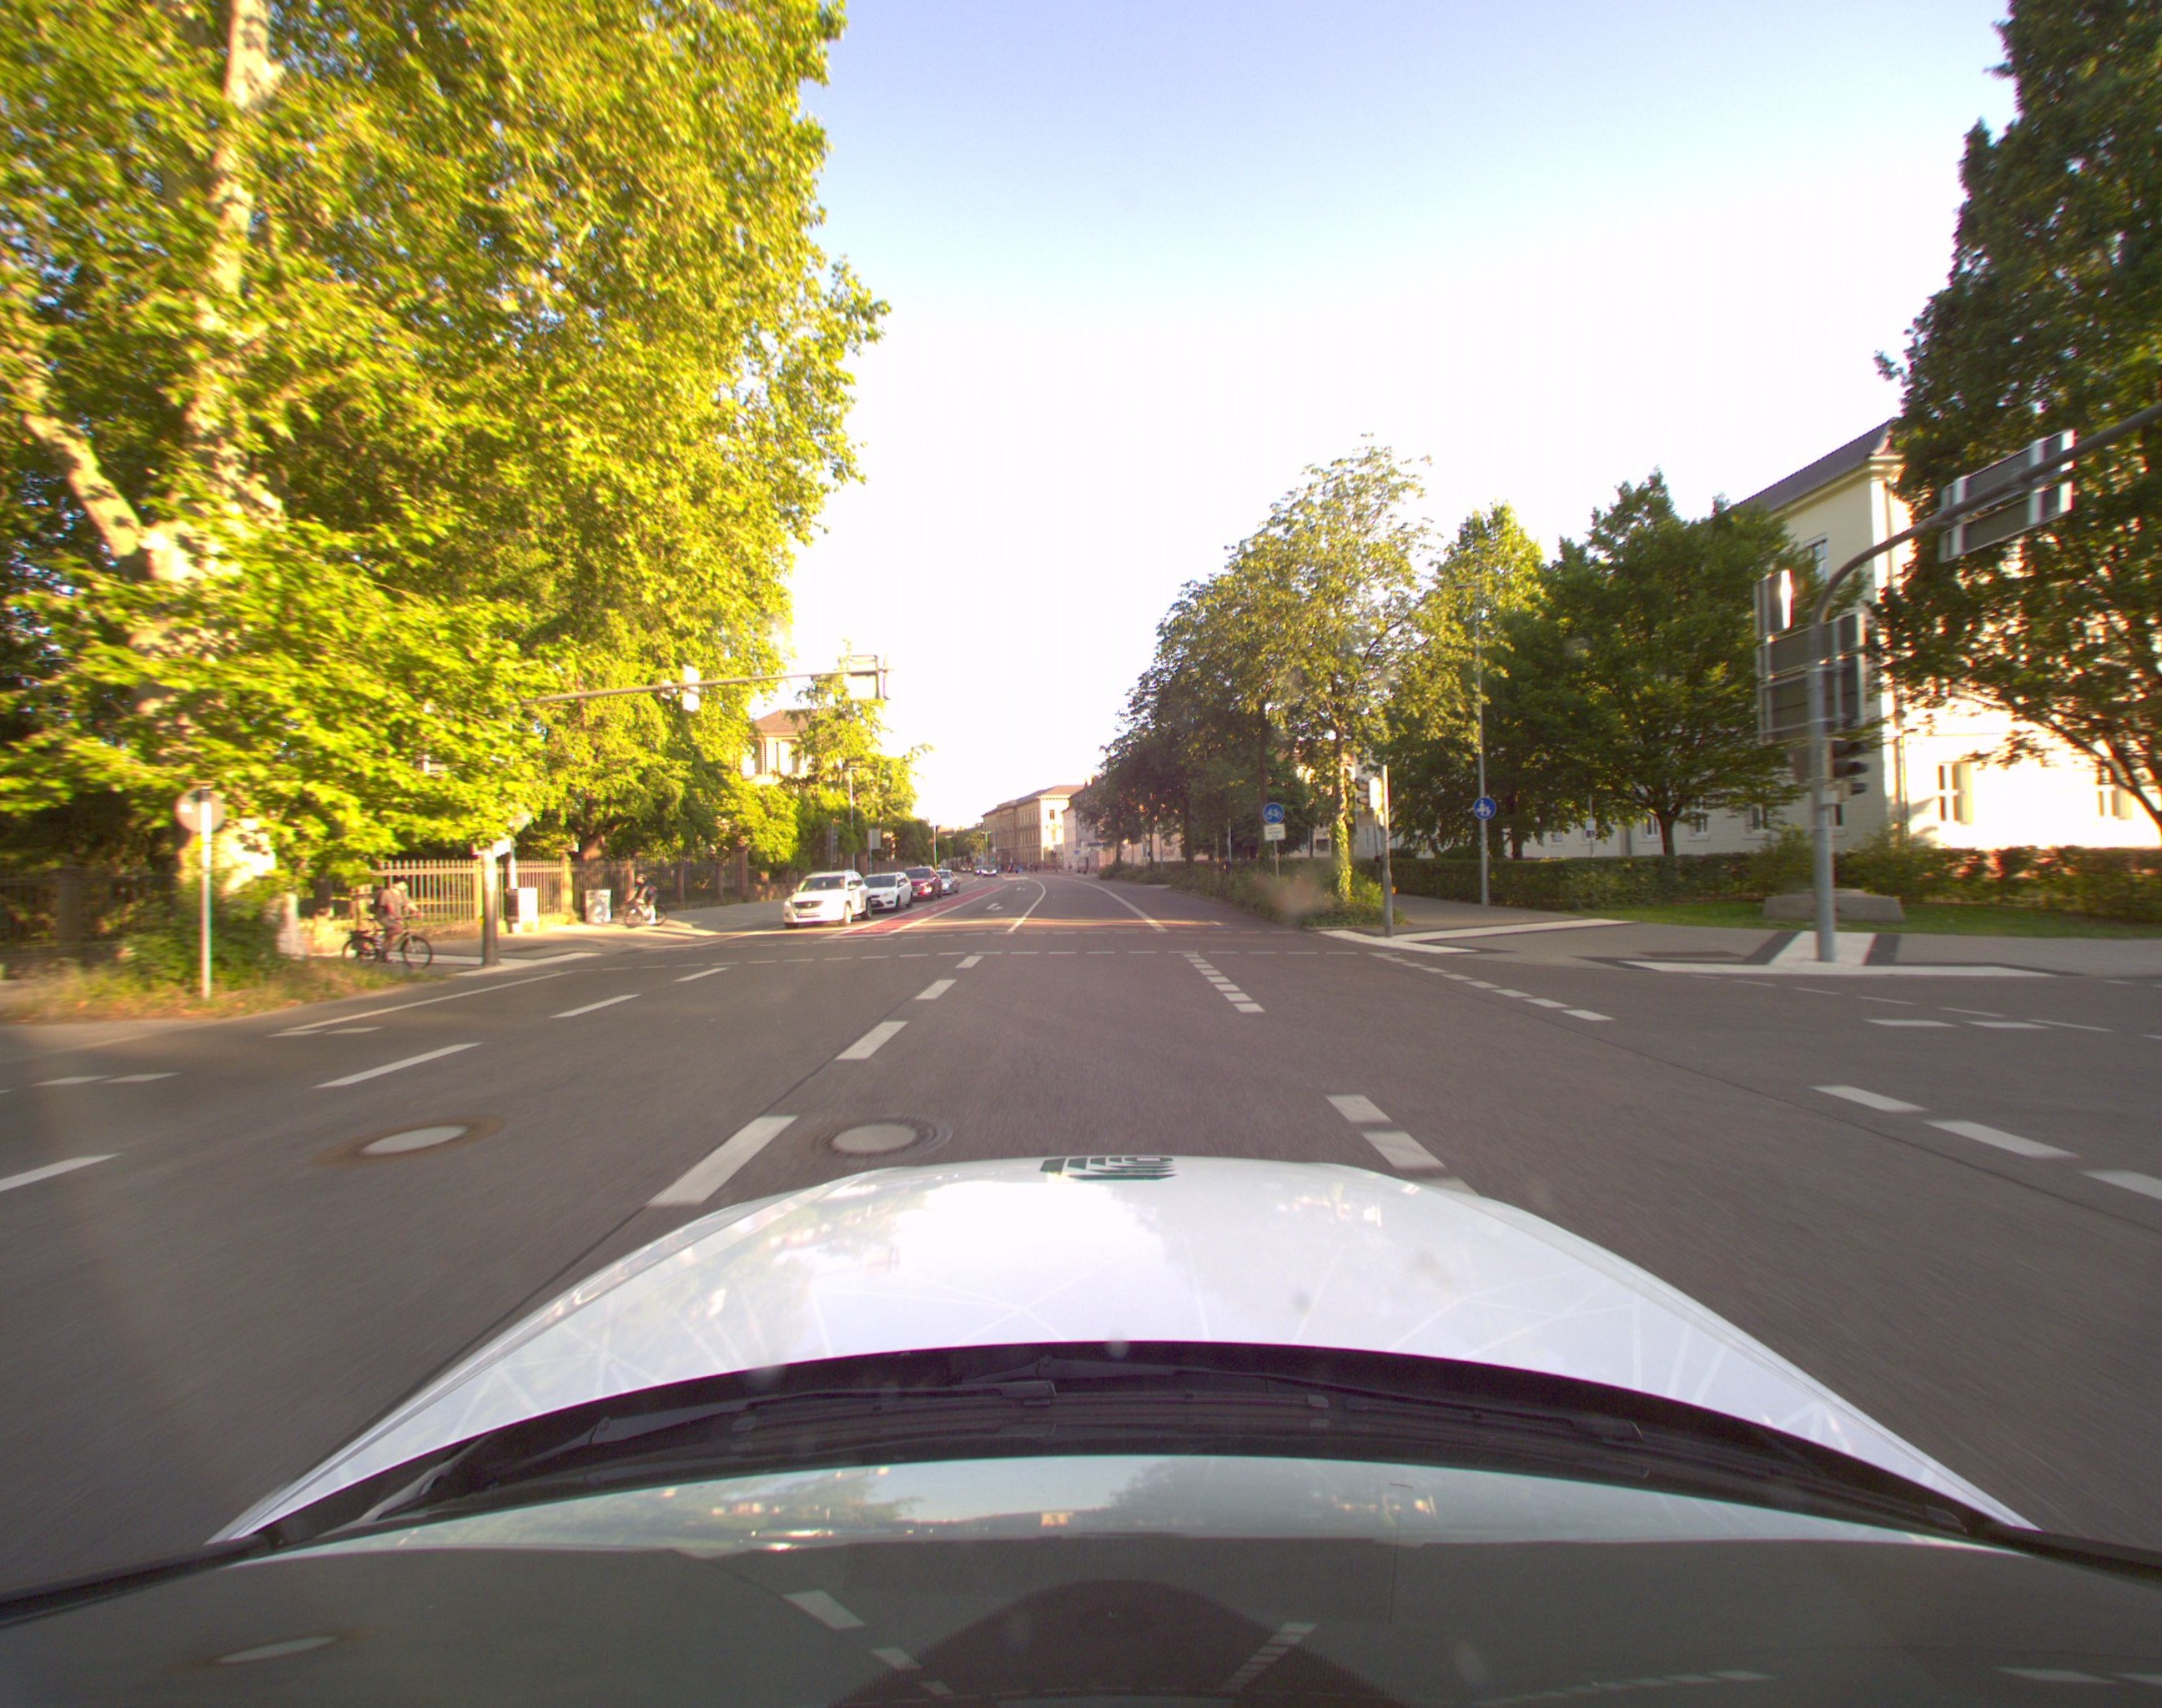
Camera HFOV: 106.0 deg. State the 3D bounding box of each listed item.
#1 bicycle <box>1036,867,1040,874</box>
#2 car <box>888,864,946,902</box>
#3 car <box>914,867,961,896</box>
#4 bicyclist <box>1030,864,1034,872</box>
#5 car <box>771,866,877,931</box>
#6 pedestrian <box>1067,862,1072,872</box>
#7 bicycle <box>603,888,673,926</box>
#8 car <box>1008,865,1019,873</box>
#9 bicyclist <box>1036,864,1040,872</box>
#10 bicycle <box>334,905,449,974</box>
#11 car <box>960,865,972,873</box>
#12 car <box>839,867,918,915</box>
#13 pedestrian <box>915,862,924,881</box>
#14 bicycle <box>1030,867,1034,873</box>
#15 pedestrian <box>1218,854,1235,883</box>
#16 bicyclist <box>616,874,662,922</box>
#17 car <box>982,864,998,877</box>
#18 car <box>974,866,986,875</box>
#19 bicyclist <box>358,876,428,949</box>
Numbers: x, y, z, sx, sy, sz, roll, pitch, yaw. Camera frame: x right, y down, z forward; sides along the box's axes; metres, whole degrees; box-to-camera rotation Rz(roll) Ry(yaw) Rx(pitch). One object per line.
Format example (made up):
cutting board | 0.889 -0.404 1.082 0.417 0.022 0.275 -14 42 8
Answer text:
bicycle | -7.279 2.770 137.344 0.650 1.015 2.196 1 -1 -2
car | -7.982 1.387 40.028 1.911 1.624 4.635 -4 0 -2
car | -8.192 1.535 46.817 1.911 1.418 4.766 -4 0 -2
bicyclist | -8.182 2.342 137.319 0.650 1.446 0.878 1 -1 -3
car | -7.857 1.298 25.350 1.911 1.695 4.423 -4 -1 -2
pedestrian | -2.031 2.326 145.246 0.759 1.755 0.844 -1 -1 -1
bicycle | -13.629 1.613 25.122 0.852 1.015 2.199 -2 -1 2
car | -11.972 2.665 145.138 1.864 1.510 3.993 -1 -1 -4
bicyclist | -7.274 2.358 137.252 0.650 1.475 0.940 1 -1 -2
bicycle | -13.399 1.647 15.856 1.627 1.229 0.571 -2 -1 -9
car | -26.268 3.460 186.668 1.999 1.585 3.974 -1 -1 -19
car | -7.745 1.359 31.575 1.911 1.583 4.670 -4 0 -2
pedestrian | -14.754 1.598 74.484 0.678 1.622 0.689 -2 -1 2
bicycle | -8.193 2.713 137.344 0.650 1.015 2.195 1 -1 -3
pedestrian | 8.927 0.898 49.855 0.769 1.739 0.805 -2 -1 -8
bicyclist | -13.651 1.339 25.162 0.852 1.431 0.944 -2 -1 2
car | -11.964 2.198 107.412 1.848 1.526 3.987 -3 0 -9
car | -16.745 2.762 135.067 1.835 1.439 3.987 -3 0 -9
bicyclist | -13.387 1.122 15.870 0.836 1.361 0.571 -2 -1 -9
